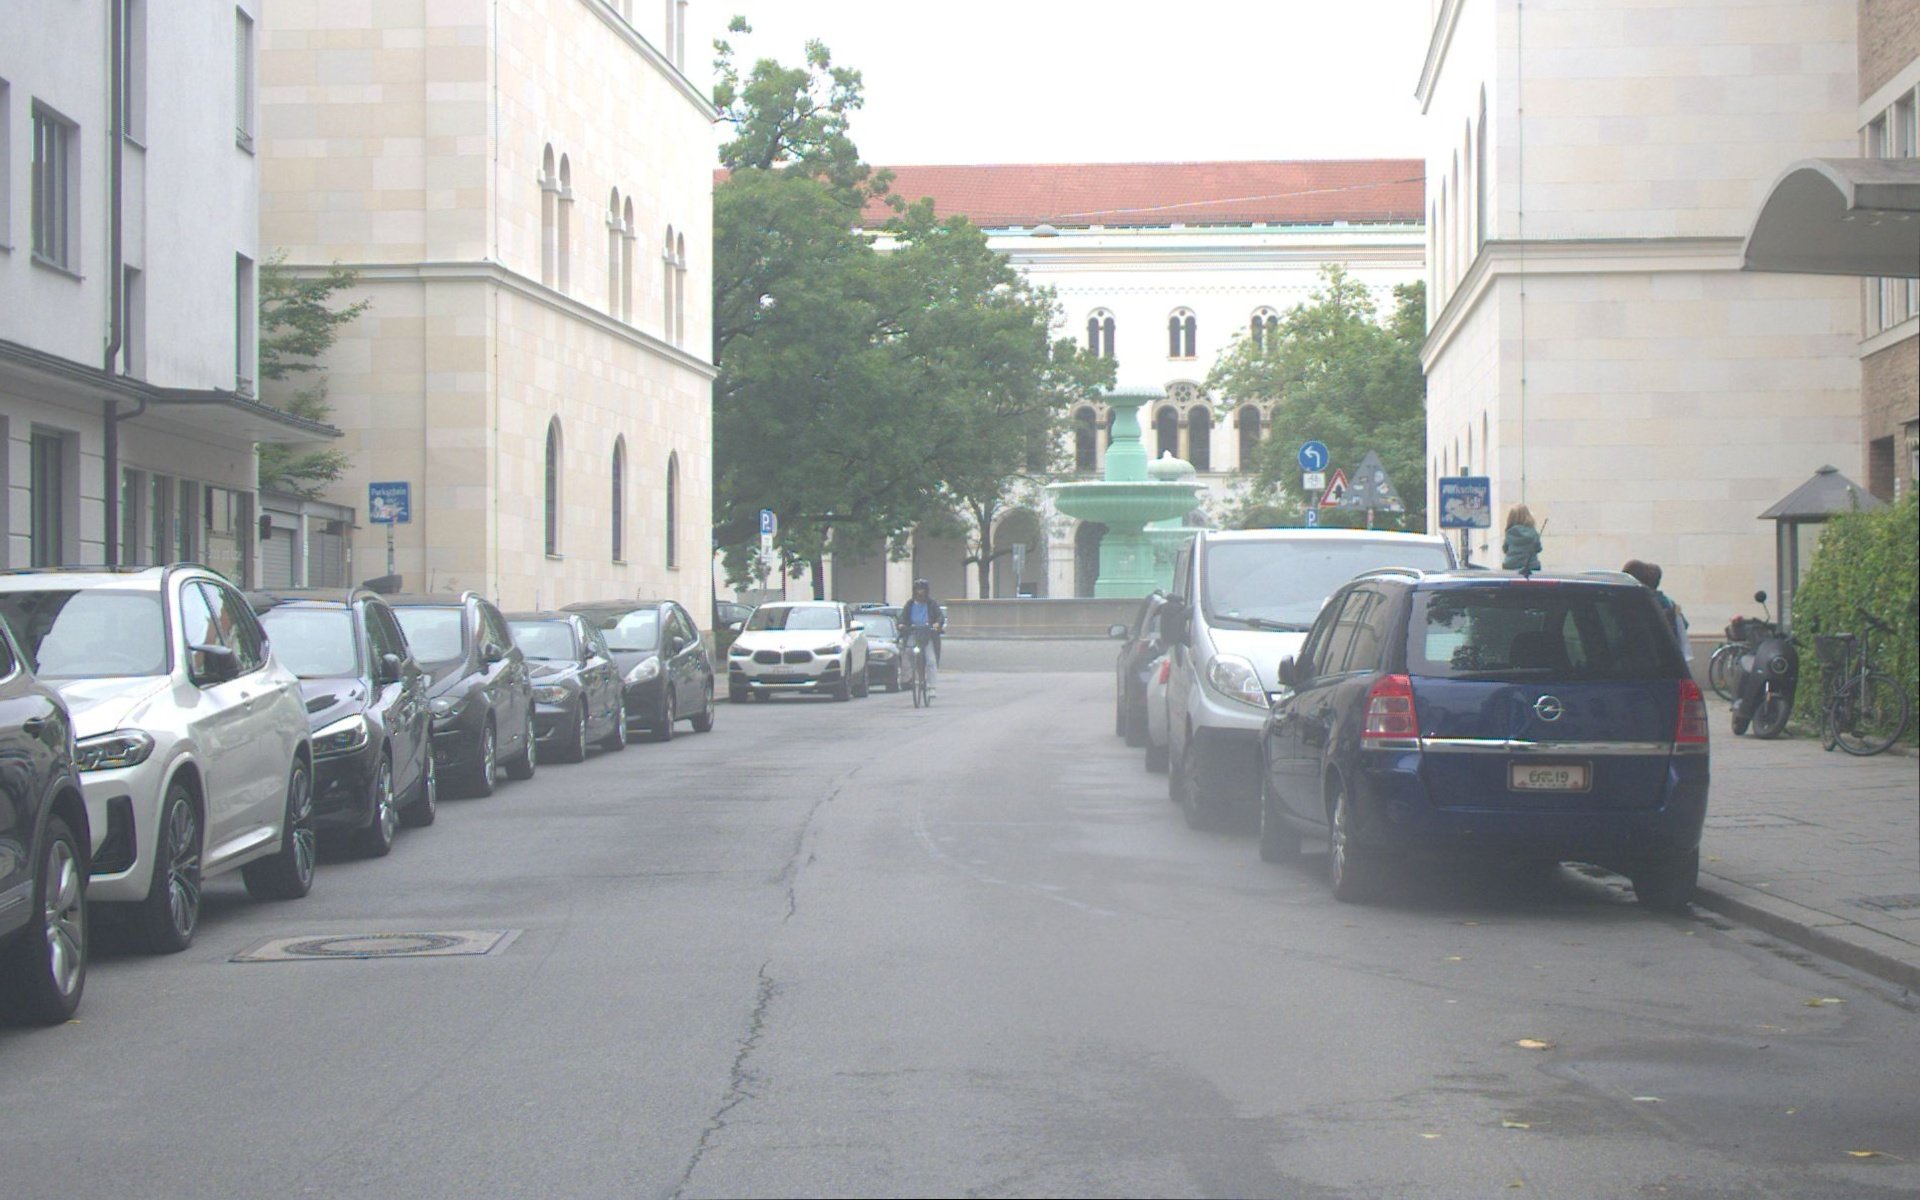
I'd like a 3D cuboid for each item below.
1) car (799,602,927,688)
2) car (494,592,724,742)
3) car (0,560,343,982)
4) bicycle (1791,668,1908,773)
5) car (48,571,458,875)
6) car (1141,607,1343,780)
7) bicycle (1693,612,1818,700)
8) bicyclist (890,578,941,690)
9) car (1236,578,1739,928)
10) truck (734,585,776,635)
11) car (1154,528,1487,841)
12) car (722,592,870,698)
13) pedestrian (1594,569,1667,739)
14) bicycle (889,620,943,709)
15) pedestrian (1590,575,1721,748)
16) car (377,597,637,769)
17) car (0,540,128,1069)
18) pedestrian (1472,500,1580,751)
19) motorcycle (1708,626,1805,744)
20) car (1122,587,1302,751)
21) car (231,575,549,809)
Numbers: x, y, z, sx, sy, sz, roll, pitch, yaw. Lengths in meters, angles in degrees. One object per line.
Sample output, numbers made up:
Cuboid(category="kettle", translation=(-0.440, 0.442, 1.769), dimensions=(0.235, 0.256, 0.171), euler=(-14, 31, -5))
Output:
Cuboid(category="car", translation=(-1.641, 0.769, 59.297), dimensions=(1.699, 1.388, 4.211), euler=(-2, -1, 5))
Cuboid(category="car", translation=(-3.782, 0.694, 37.700), dimensions=(1.751, 1.448, 4.015), euler=(-1, 1, 5))
Cuboid(category="car", translation=(-4.197, 0.673, 15.988), dimensions=(1.872, 1.652, 4.591), euler=(-2, 1, -1))
Cuboid(category="bicycle", translation=(7.383, 0.990, 28.584), dimensions=(0.516, 0.815, 1.434), euler=(-1, 0, -4))
Cuboid(category="car", translation=(-4.361, 0.681, 21.891), dimensions=(1.872, 1.652, 4.591), euler=(-2, 1, -3))
Cuboid(category="car", translation=(2.482, 0.786, 30.952), dimensions=(1.673, 1.412, 4.201), euler=(1, 0, 3))
Cuboid(category="bicycle", translation=(9.728, 0.680, 42.065), dimensions=(1.429, 1.038, 0.348), euler=(-1, 0, 4))
Cuboid(category="bicyclist", translation=(-0.623, 0.476, 48.358), dimensions=(0.657, 1.545, 0.887), euler=(0, 0, 2))
Cuboid(category="car", translation=(2.581, 0.687, 17.801), dimensions=(1.807, 1.595, 4.215), euler=(0, 0, -2))
Cuboid(category="truck", translation=(-10.595, 0.489, 177.447), dimensions=(1.993, 2.480, 4.001), euler=(1, 1, -6))
Cuboid(category="car", translation=(2.342, 0.504, 23.467), dimensions=(1.882, 1.918, 4.874), euler=(0, 0, 2))
Cuboid(category="car", translation=(-2.487, 0.685, 52.956), dimensions=(1.778, 1.529, 4.211), euler=(-1, -1, 4))
Cuboid(category="pedestrian", translation=(6.528, 0.515, 33.505), dimensions=(0.588, 1.627, 0.877), euler=(1, 0, 5))
Cuboid(category="bicycle", translation=(-0.611, 0.893, 48.229), dimensions=(0.648, 1.193, 1.950), euler=(-1, 0, 2))
Cuboid(category="pedestrian", translation=(6.267, 0.543, 30.997), dimensions=(0.949, 1.542, 0.674), euler=(0, 0, -16))
Cuboid(category="car", translation=(-4.264, 0.746, 32.949), dimensions=(1.751, 1.448, 4.015), euler=(-2, 1, 3))
Cuboid(category="car", translation=(-4.003, 0.683, 10.492), dimensions=(1.872, 1.682, 4.521), euler=(-2, 1, -1))
Cuboid(category="pedestrian", translation=(5.008, 0.222, 30.462), dimensions=(0.793, 2.190, 0.813), euler=(1, 0, -1))
Cuboid(category="motorcycle", translation=(7.594, 0.795, 32.838), dimensions=(0.488, 1.050, 1.924), euler=(1, 0, 0))
Cuboid(category="car", translation=(2.567, 0.682, 35.776), dimensions=(1.747, 1.588, 3.955), euler=(1, 0, 3))
Cuboid(category="car", translation=(-4.465, 0.668, 27.518), dimensions=(1.872, 1.652, 4.080), euler=(-2, 1, -1))
